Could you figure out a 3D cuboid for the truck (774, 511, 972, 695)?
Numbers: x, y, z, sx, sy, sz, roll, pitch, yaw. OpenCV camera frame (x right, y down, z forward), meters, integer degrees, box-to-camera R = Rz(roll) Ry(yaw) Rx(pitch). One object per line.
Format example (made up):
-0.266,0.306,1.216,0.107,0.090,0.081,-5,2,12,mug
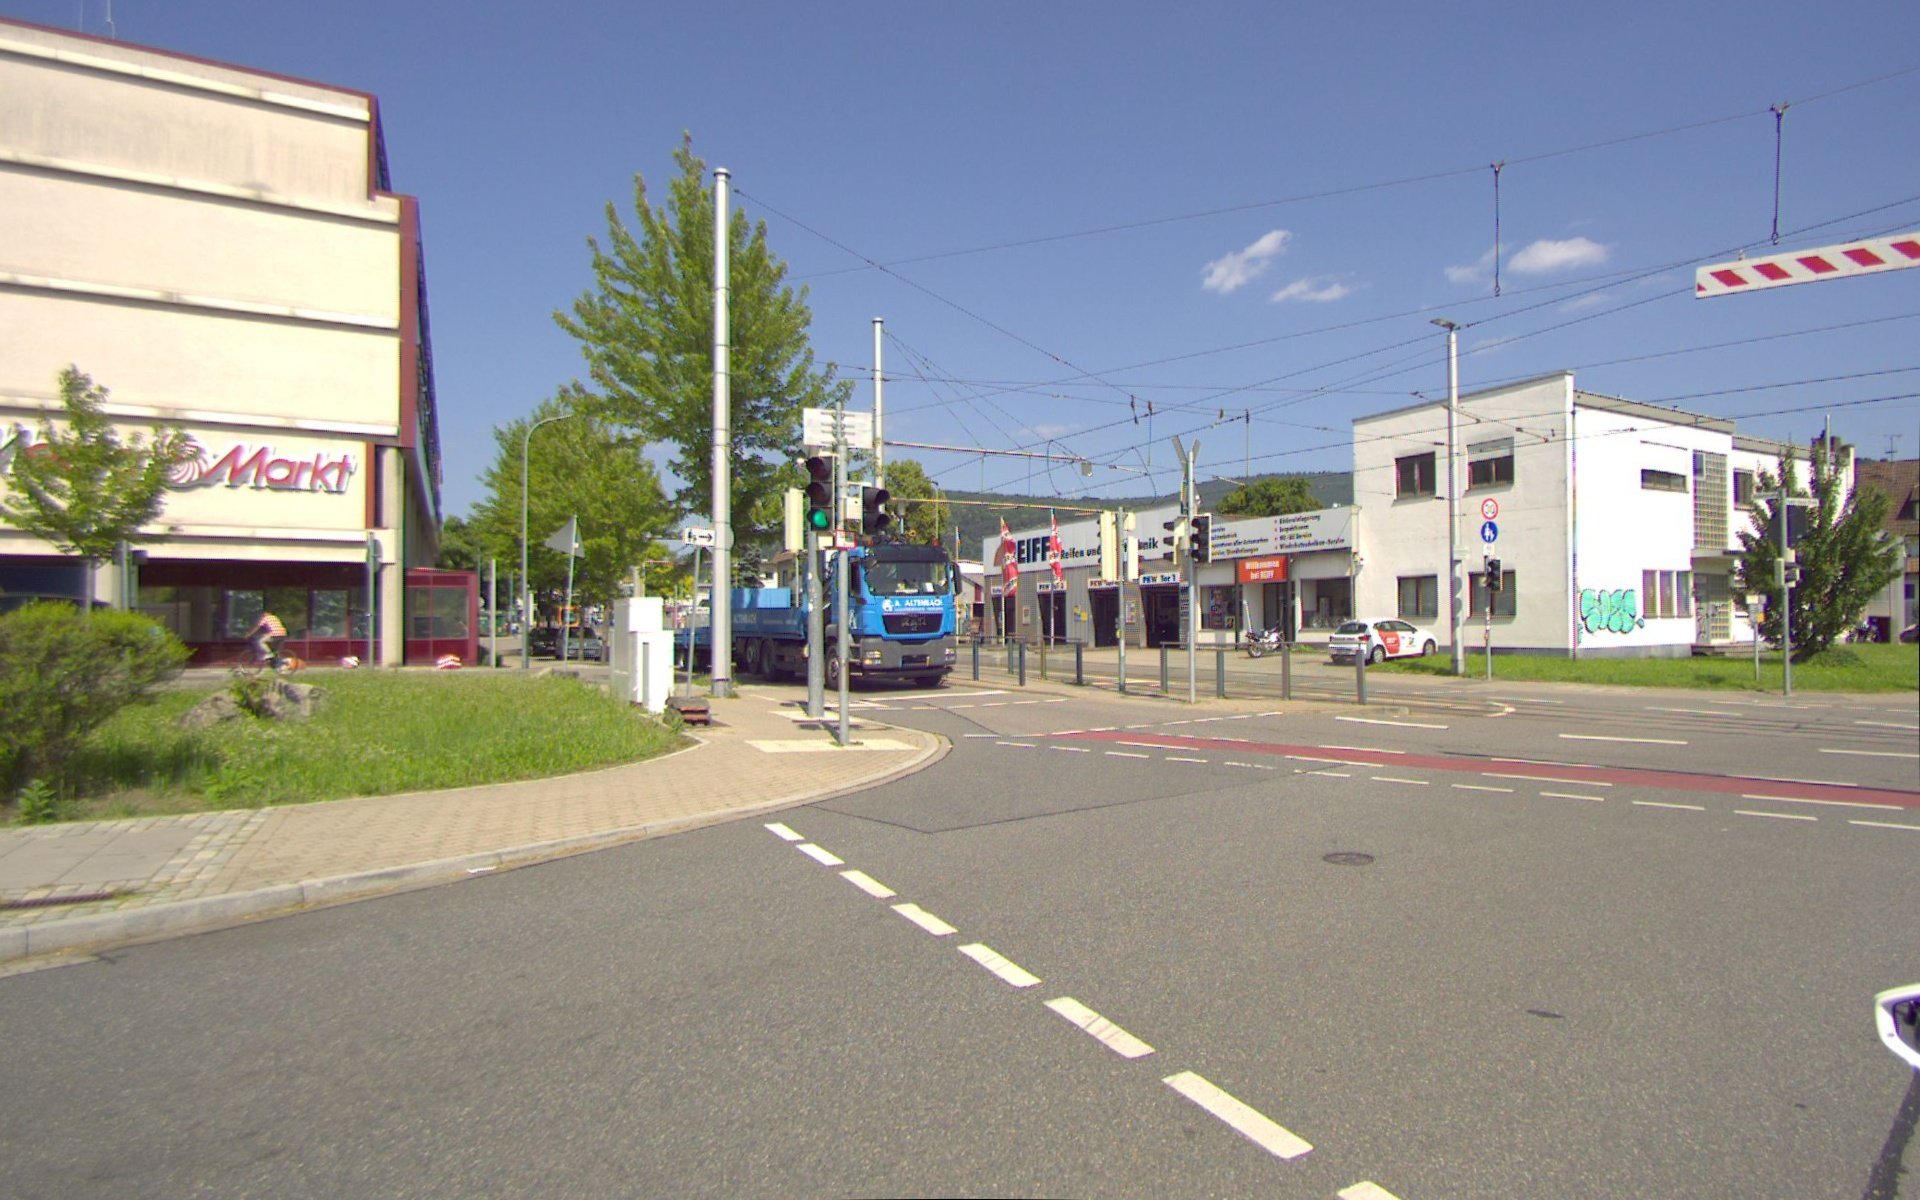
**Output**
-2.127,0.107,22.871,2.719,3.656,5.002,0,-1,-29,truck

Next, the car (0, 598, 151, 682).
-19.786,0.845,20.360,2.143,1.615,5.121,-2,-4,9,car

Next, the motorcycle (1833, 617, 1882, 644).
36.593,1.258,40.942,2.539,1.046,0.847,2,-1,-33,motorcycle

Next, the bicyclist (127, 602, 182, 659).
-21.497,0.809,26.804,0.904,1.467,0.723,1,-1,17,bicyclist

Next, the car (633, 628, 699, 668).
-12.132,1.927,41.272,1.707,1.492,4.247,-1,-1,-29,car

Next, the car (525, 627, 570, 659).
-20.763,2.136,50.483,1.743,1.539,3.973,1,-2,-27,car

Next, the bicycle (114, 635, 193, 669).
-21.513,1.373,26.808,1.806,0.804,0.729,1,-1,17,bicycle

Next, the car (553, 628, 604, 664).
-16.983,2.019,44.583,1.706,1.482,3.877,2,-2,-27,car

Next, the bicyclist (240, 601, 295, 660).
-17.907,0.787,25.996,0.905,1.467,0.722,2,-1,-9,bicyclist

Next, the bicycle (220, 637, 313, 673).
-17.917,1.412,25.992,1.809,0.860,0.727,2,-1,-9,bicycle

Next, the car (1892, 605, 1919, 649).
42.631,1.102,41.908,1.981,1.840,5.212,1,-2,-36,car

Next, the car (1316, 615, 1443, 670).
14.039,1.383,33.563,3.952,1.482,1.875,-4,0,-30,car

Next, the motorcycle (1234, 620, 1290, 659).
11.651,1.517,38.680,2.164,1.326,0.725,-3,0,-30,motorcycle

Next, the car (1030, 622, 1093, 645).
6.434,2.097,63.632,3.733,1.394,1.710,0,-1,-33,car

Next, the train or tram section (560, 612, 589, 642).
-46.642,3.236,121.501,2.587,3.579,5.700,0,-1,-28,train or tram section

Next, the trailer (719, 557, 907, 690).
-4.085,0.598,26.444,2.719,3.017,6.847,0,-1,-29,trailer

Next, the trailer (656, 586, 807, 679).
-7.630,1.010,32.733,2.772,2.663,7.542,0,-1,-29,trailer
